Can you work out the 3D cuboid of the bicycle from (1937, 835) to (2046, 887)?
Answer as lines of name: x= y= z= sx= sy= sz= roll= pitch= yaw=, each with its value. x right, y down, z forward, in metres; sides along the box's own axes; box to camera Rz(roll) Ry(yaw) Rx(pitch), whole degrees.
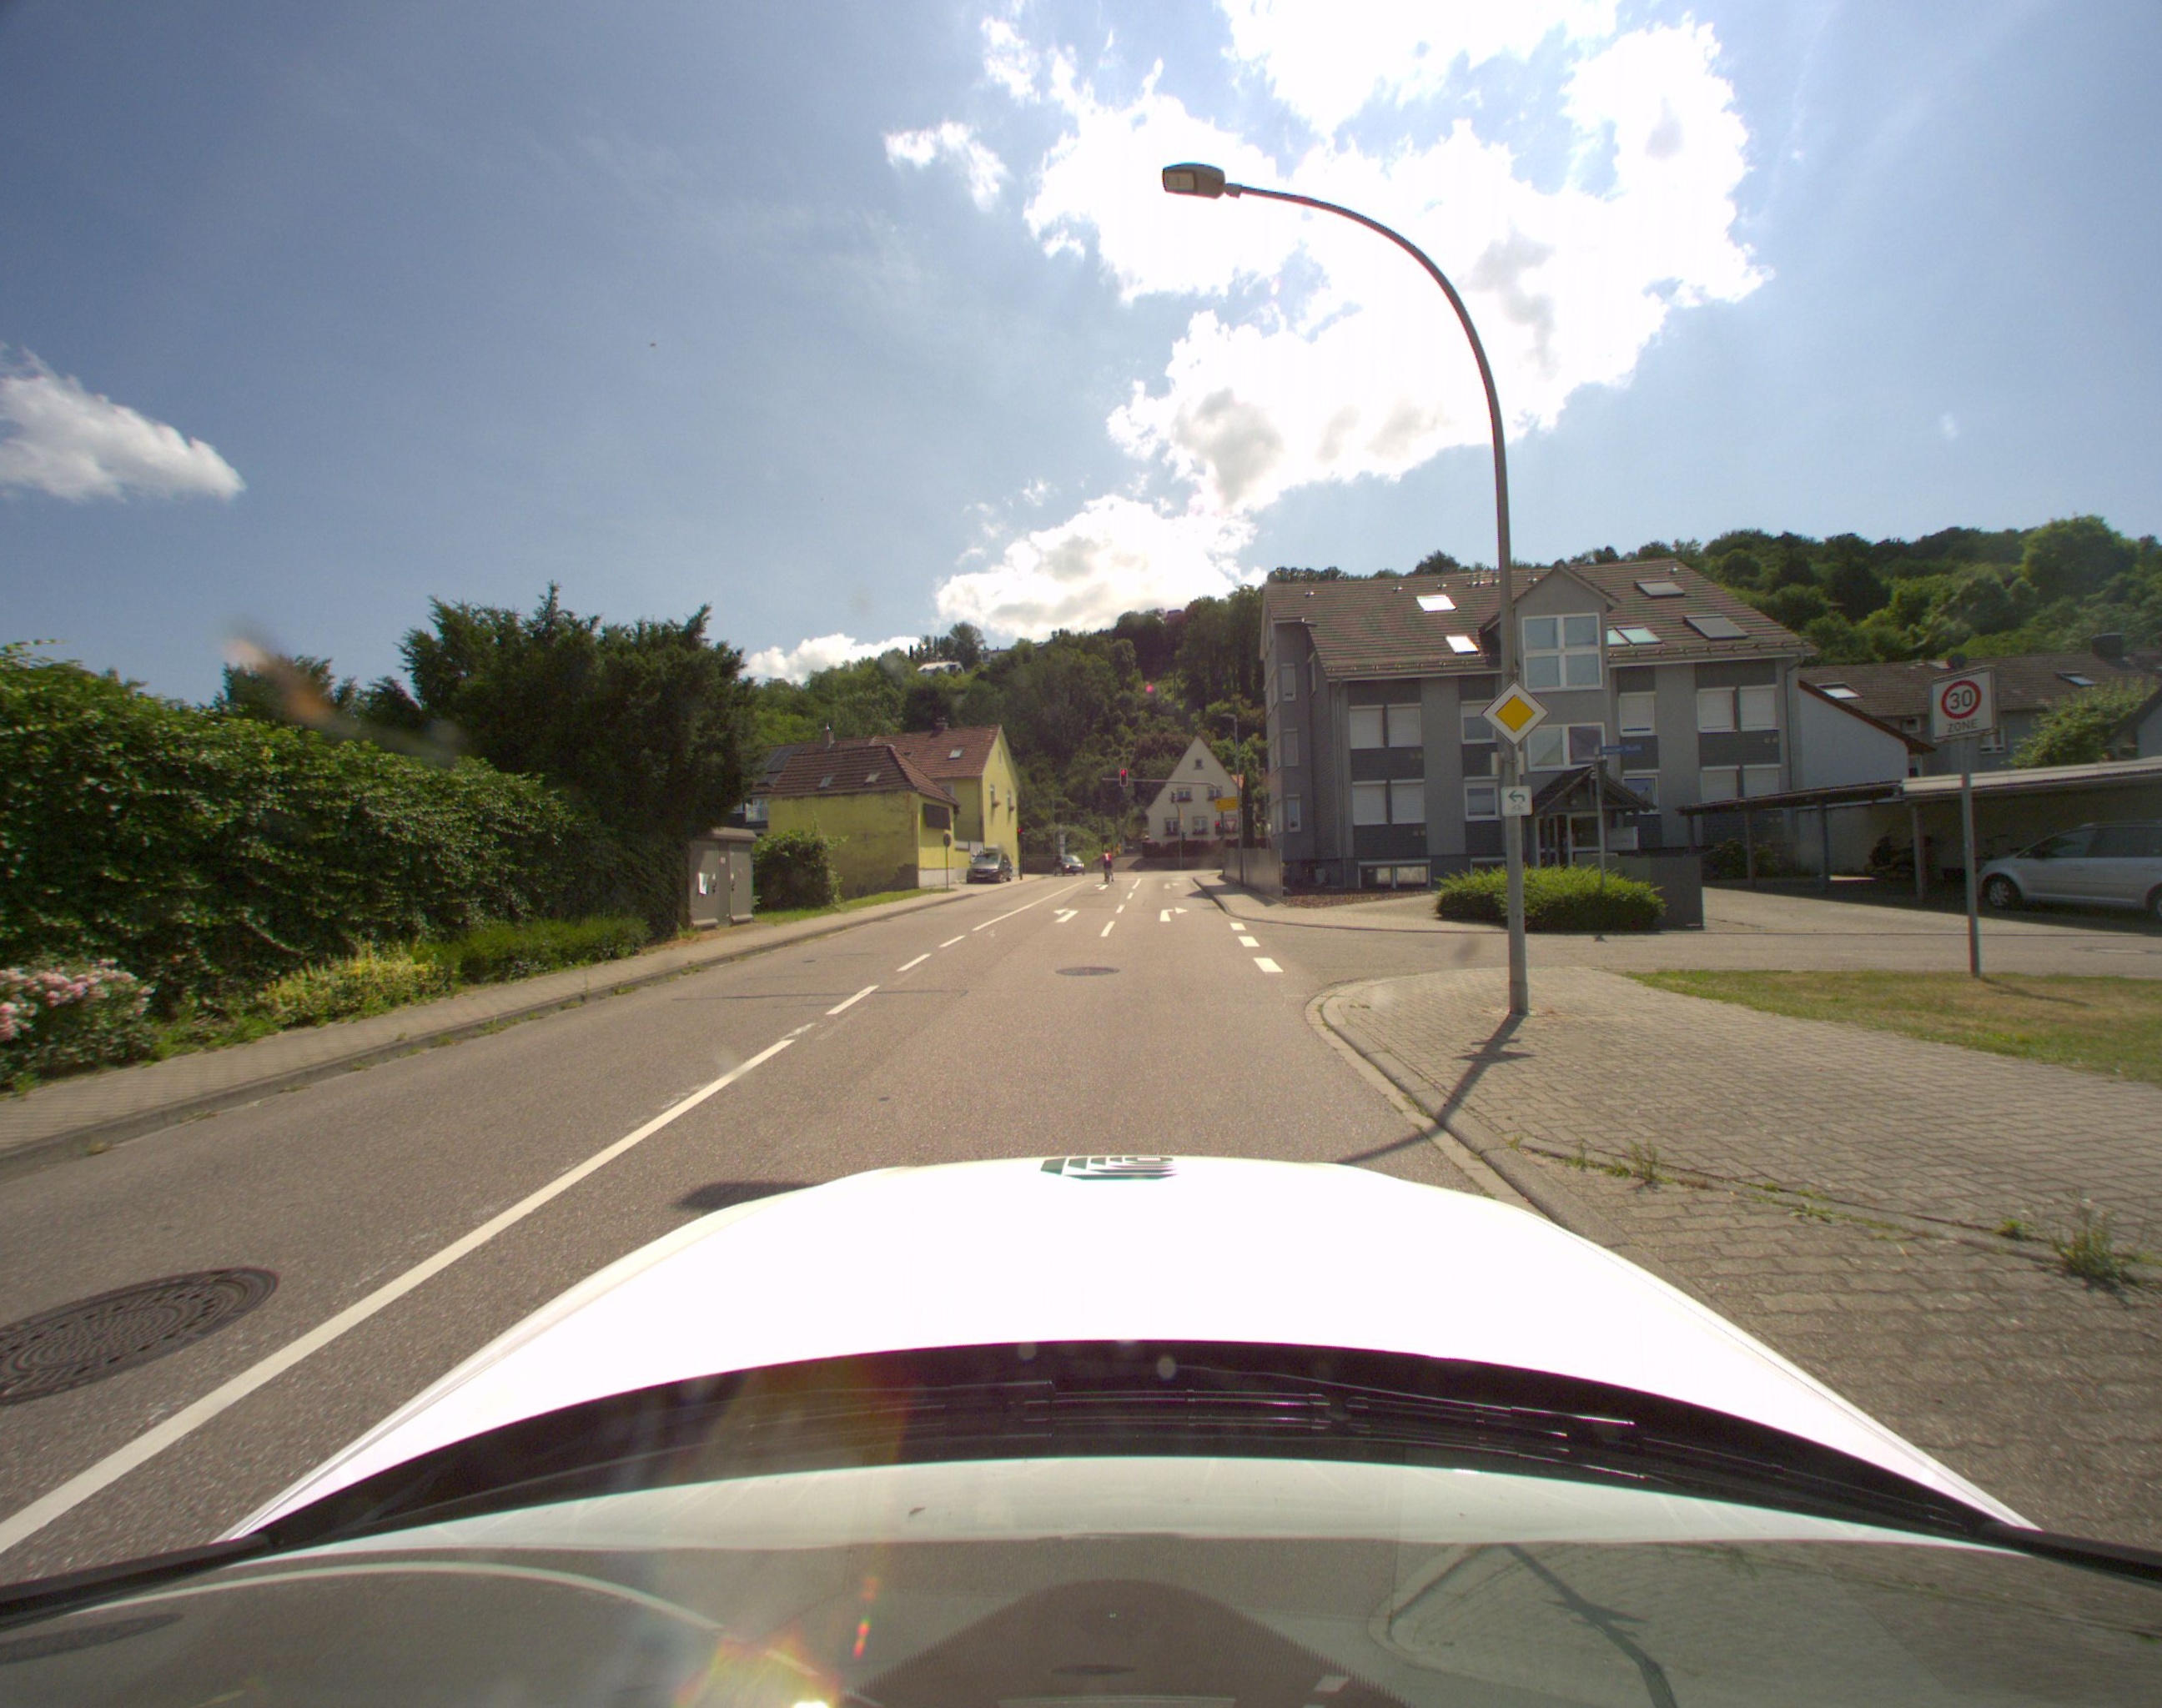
bicycle: x=22.178 y=0.145 z=19.894 sx=0.644 sy=1.172 sz=1.957 roll=-2 pitch=1 yaw=7

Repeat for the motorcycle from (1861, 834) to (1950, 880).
motorcycle: x=22.556 y=0.057 z=22.344 sx=0.644 sy=1.163 sz=1.957 roll=-2 pitch=1 yaw=7

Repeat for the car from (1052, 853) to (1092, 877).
car: x=-0.667 y=0.746 z=55.357 sx=1.783 sy=1.433 sz=3.852 roll=-3 pitch=0 yaw=-15

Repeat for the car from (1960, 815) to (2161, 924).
car: x=17.881 y=0.196 z=13.778 sx=1.728 sy=1.648 sz=4.224 roll=-3 pitch=1 yaw=6

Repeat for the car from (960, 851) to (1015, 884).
car: x=-4.979 y=0.690 z=43.889 sx=1.984 sy=1.635 sz=4.637 roll=0 pitch=0 yaw=5

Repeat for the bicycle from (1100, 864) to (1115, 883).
bicycle: x=1.280 y=0.926 z=39.039 sx=0.627 sy=0.905 sz=1.659 roll=-1 pitch=0 yaw=5

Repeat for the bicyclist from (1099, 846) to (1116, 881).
bicyclist: x=1.263 y=0.438 z=38.915 sx=0.757 sy=1.664 sz=0.870 roll=-1 pitch=0 yaw=4

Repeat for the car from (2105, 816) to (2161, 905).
car: x=20.423 y=0.135 z=13.711 sx=1.728 sy=1.587 sz=3.861 roll=-3 pitch=1 yaw=6
